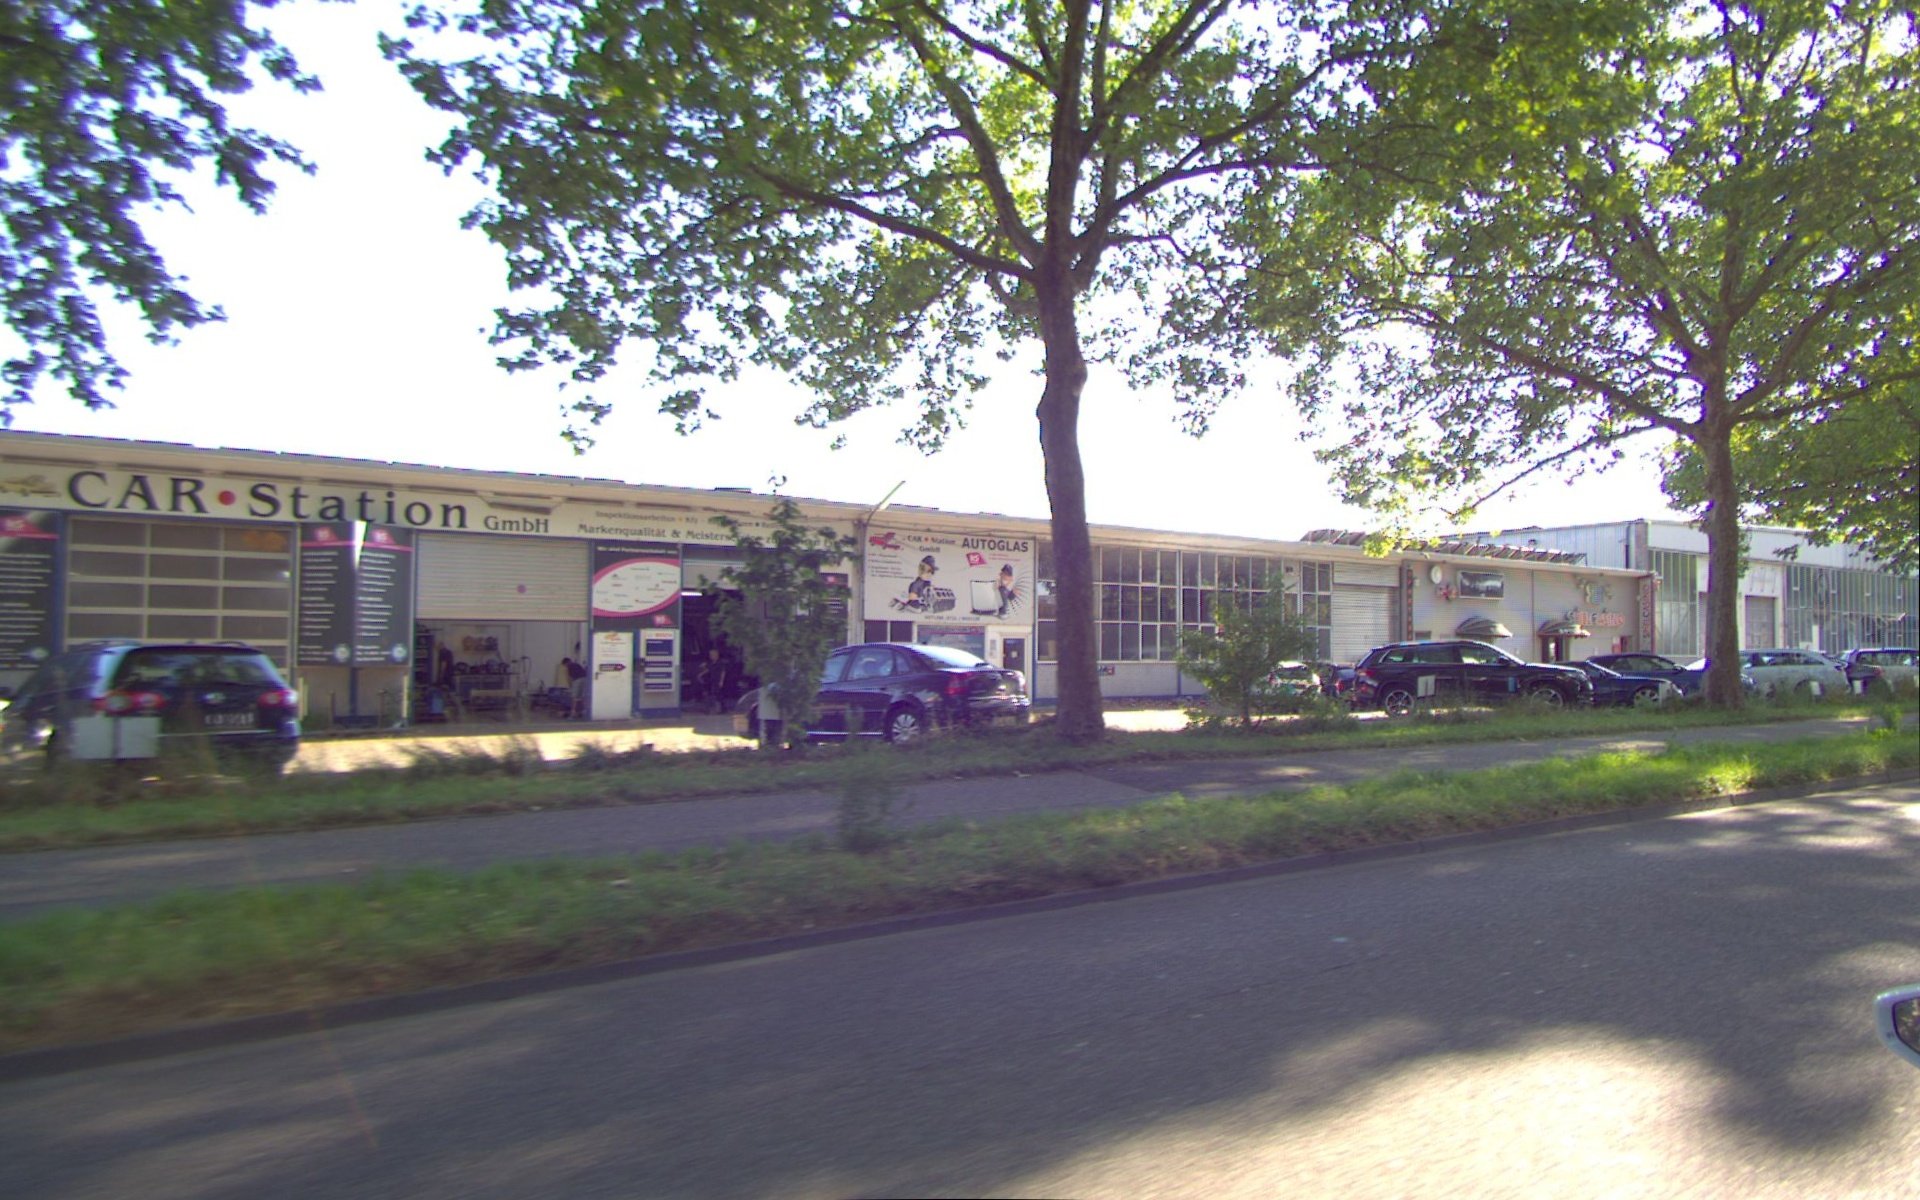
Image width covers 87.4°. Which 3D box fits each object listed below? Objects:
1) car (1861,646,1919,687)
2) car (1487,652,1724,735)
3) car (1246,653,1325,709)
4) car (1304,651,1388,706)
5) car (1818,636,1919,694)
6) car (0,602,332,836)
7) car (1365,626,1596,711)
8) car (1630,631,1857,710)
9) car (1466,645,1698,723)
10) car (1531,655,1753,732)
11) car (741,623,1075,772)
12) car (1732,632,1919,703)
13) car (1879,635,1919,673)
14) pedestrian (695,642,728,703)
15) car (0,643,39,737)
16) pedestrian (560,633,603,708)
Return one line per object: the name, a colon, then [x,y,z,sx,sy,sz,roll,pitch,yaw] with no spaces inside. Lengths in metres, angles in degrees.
car: [33.746,2.291,34.008,4.395,1.323,2.000,1,-1,19]
car: [14.493,2.062,22.877,4.180,1.471,2.000,2,-1,22]
car: [9.855,2.425,30.580,1.522,1.403,3.300,3,-1,5]
car: [11.791,2.369,30.887,1.674,1.425,3.300,3,-1,8]
car: [31.351,2.172,32.977,4.398,1.753,1.999,2,-1,23]
car: [-8.723,1.010,10.509,4.821,1.783,1.993,2,-1,37]
car: [10.984,1.407,21.577,4.180,1.471,2.000,2,-1,22]
car: [20.271,1.789,26.199,4.176,1.721,2.001,3,-1,14]
car: [14.061,1.854,23.035,4.180,1.400,2.000,2,-1,22]
car: [16.743,2.252,24.937,4.180,1.471,2.000,2,-1,22]
car: [-0.802,1.209,13.846,4.280,1.550,1.993,2,-1,37]
car: [24.072,1.828,27.485,4.176,1.651,2.001,3,-1,13]
car: [36.158,1.973,35.934,4.395,1.323,2.000,1,-1,19]
pedestrian: [-6.399,1.863,25.886,0.675,1.491,0.691,3,0,-22]
car: [-16.222,1.401,14.621,1.961,1.461,3.999,3,-1,-2]
pedestrian: [-8.923,1.665,23.695,0.761,1.698,0.789,3,0,-30]
